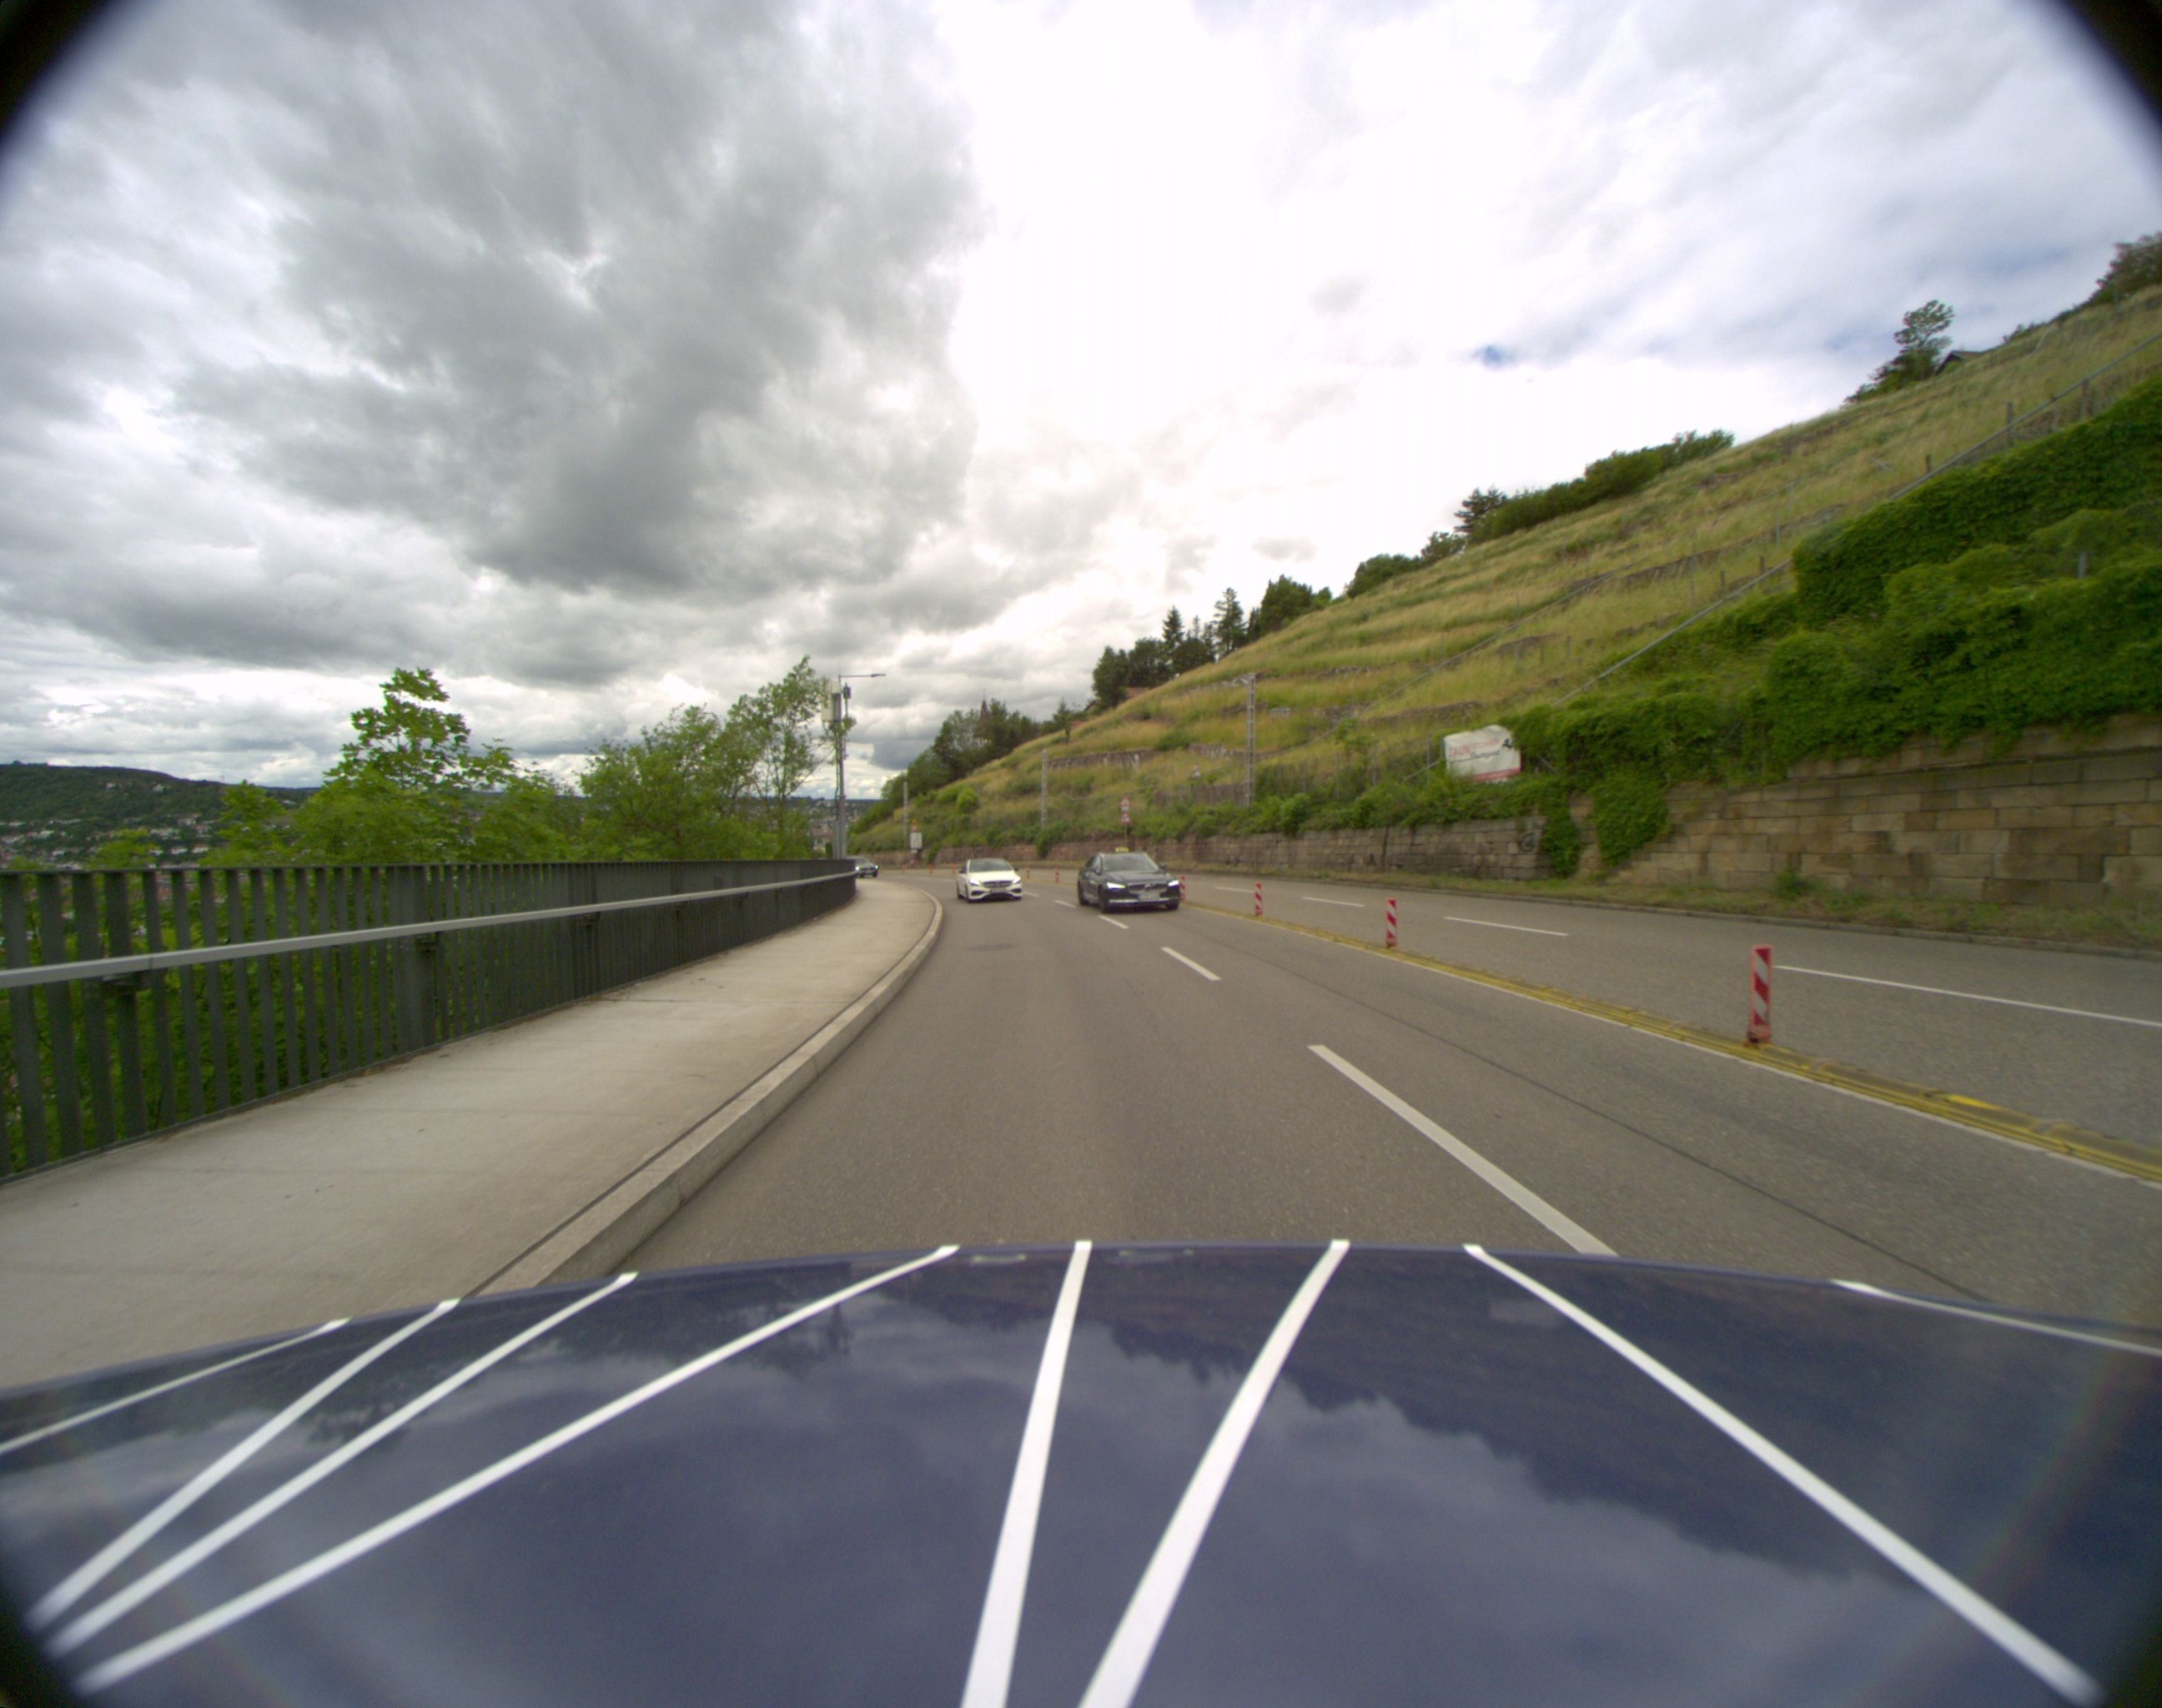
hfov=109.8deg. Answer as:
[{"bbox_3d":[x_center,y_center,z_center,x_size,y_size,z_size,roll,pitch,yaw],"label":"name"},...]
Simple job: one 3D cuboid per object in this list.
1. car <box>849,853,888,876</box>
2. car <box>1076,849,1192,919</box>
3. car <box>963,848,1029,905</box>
[{"bbox_3d":[-16.476,0.805,58.736,2.002,1.661,4.528,-2,1,-27],"label":"car"},{"bbox_3d":[1.206,0.665,19.290,1.902,1.485,4.137,-3,1,-11],"label":"car"},{"bbox_3d":[-2.923,0.701,26.058,2.000,1.708,3.997,-3,0,-7],"label":"car"}]
